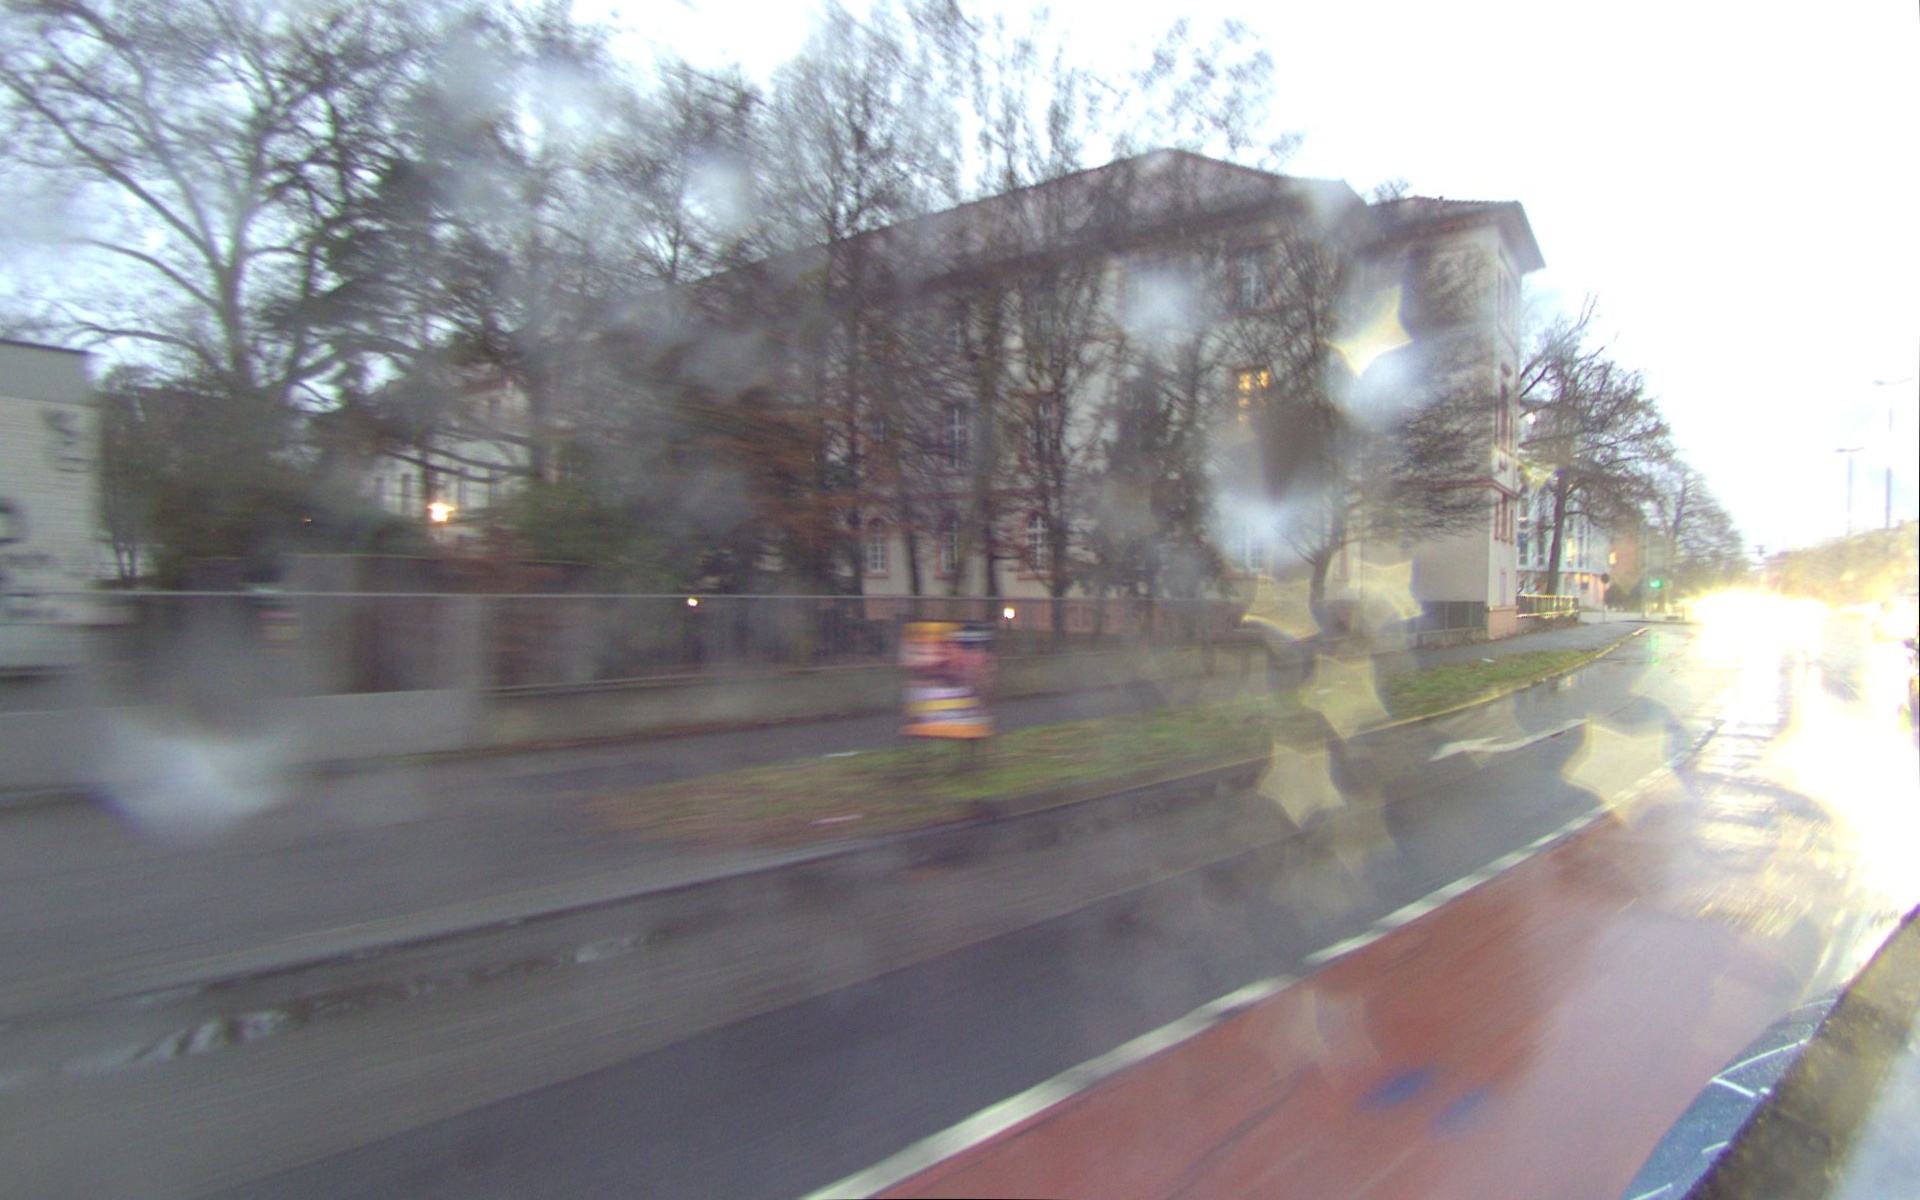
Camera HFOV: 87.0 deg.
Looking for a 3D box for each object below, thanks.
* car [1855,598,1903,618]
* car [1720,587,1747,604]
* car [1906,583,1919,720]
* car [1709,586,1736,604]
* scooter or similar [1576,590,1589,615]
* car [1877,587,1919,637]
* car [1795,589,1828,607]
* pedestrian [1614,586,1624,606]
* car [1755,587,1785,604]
[{"bbox_3d":[65.947,0.555,72.676,1.957,1.404,4.476,2,1,35],"label":"car"},{"bbox_3d":[77.668,-0.460,101.650,1.988,1.725,3.947,0,0,36],"label":"car"},{"bbox_3d":[11.779,0.607,11.219,1.643,1.604,3.750,0,1,40],"label":"car"},{"bbox_3d":[72.996,-0.498,96.974,1.988,1.717,3.947,0,0,36],"label":"car"},{"bbox_3d":[30.696,0.137,49.917,0.438,1.219,1.070,0,0,28],"label":"scooter or similar"},{"bbox_3d":[35.303,0.419,37.232,1.809,1.764,4.133,2,1,35],"label":"car"},{"bbox_3d":[77.654,-0.198,92.352,1.988,1.629,3.947,0,0,36],"label":"car"},{"bbox_3d":[55.880,-0.339,85.809,0.650,1.609,0.557,0,-1,28],"label":"pedestrian"},{"bbox_3d":[75.683,-0.371,94.562,1.988,1.554,3.947,0,0,36],"label":"car"}]
